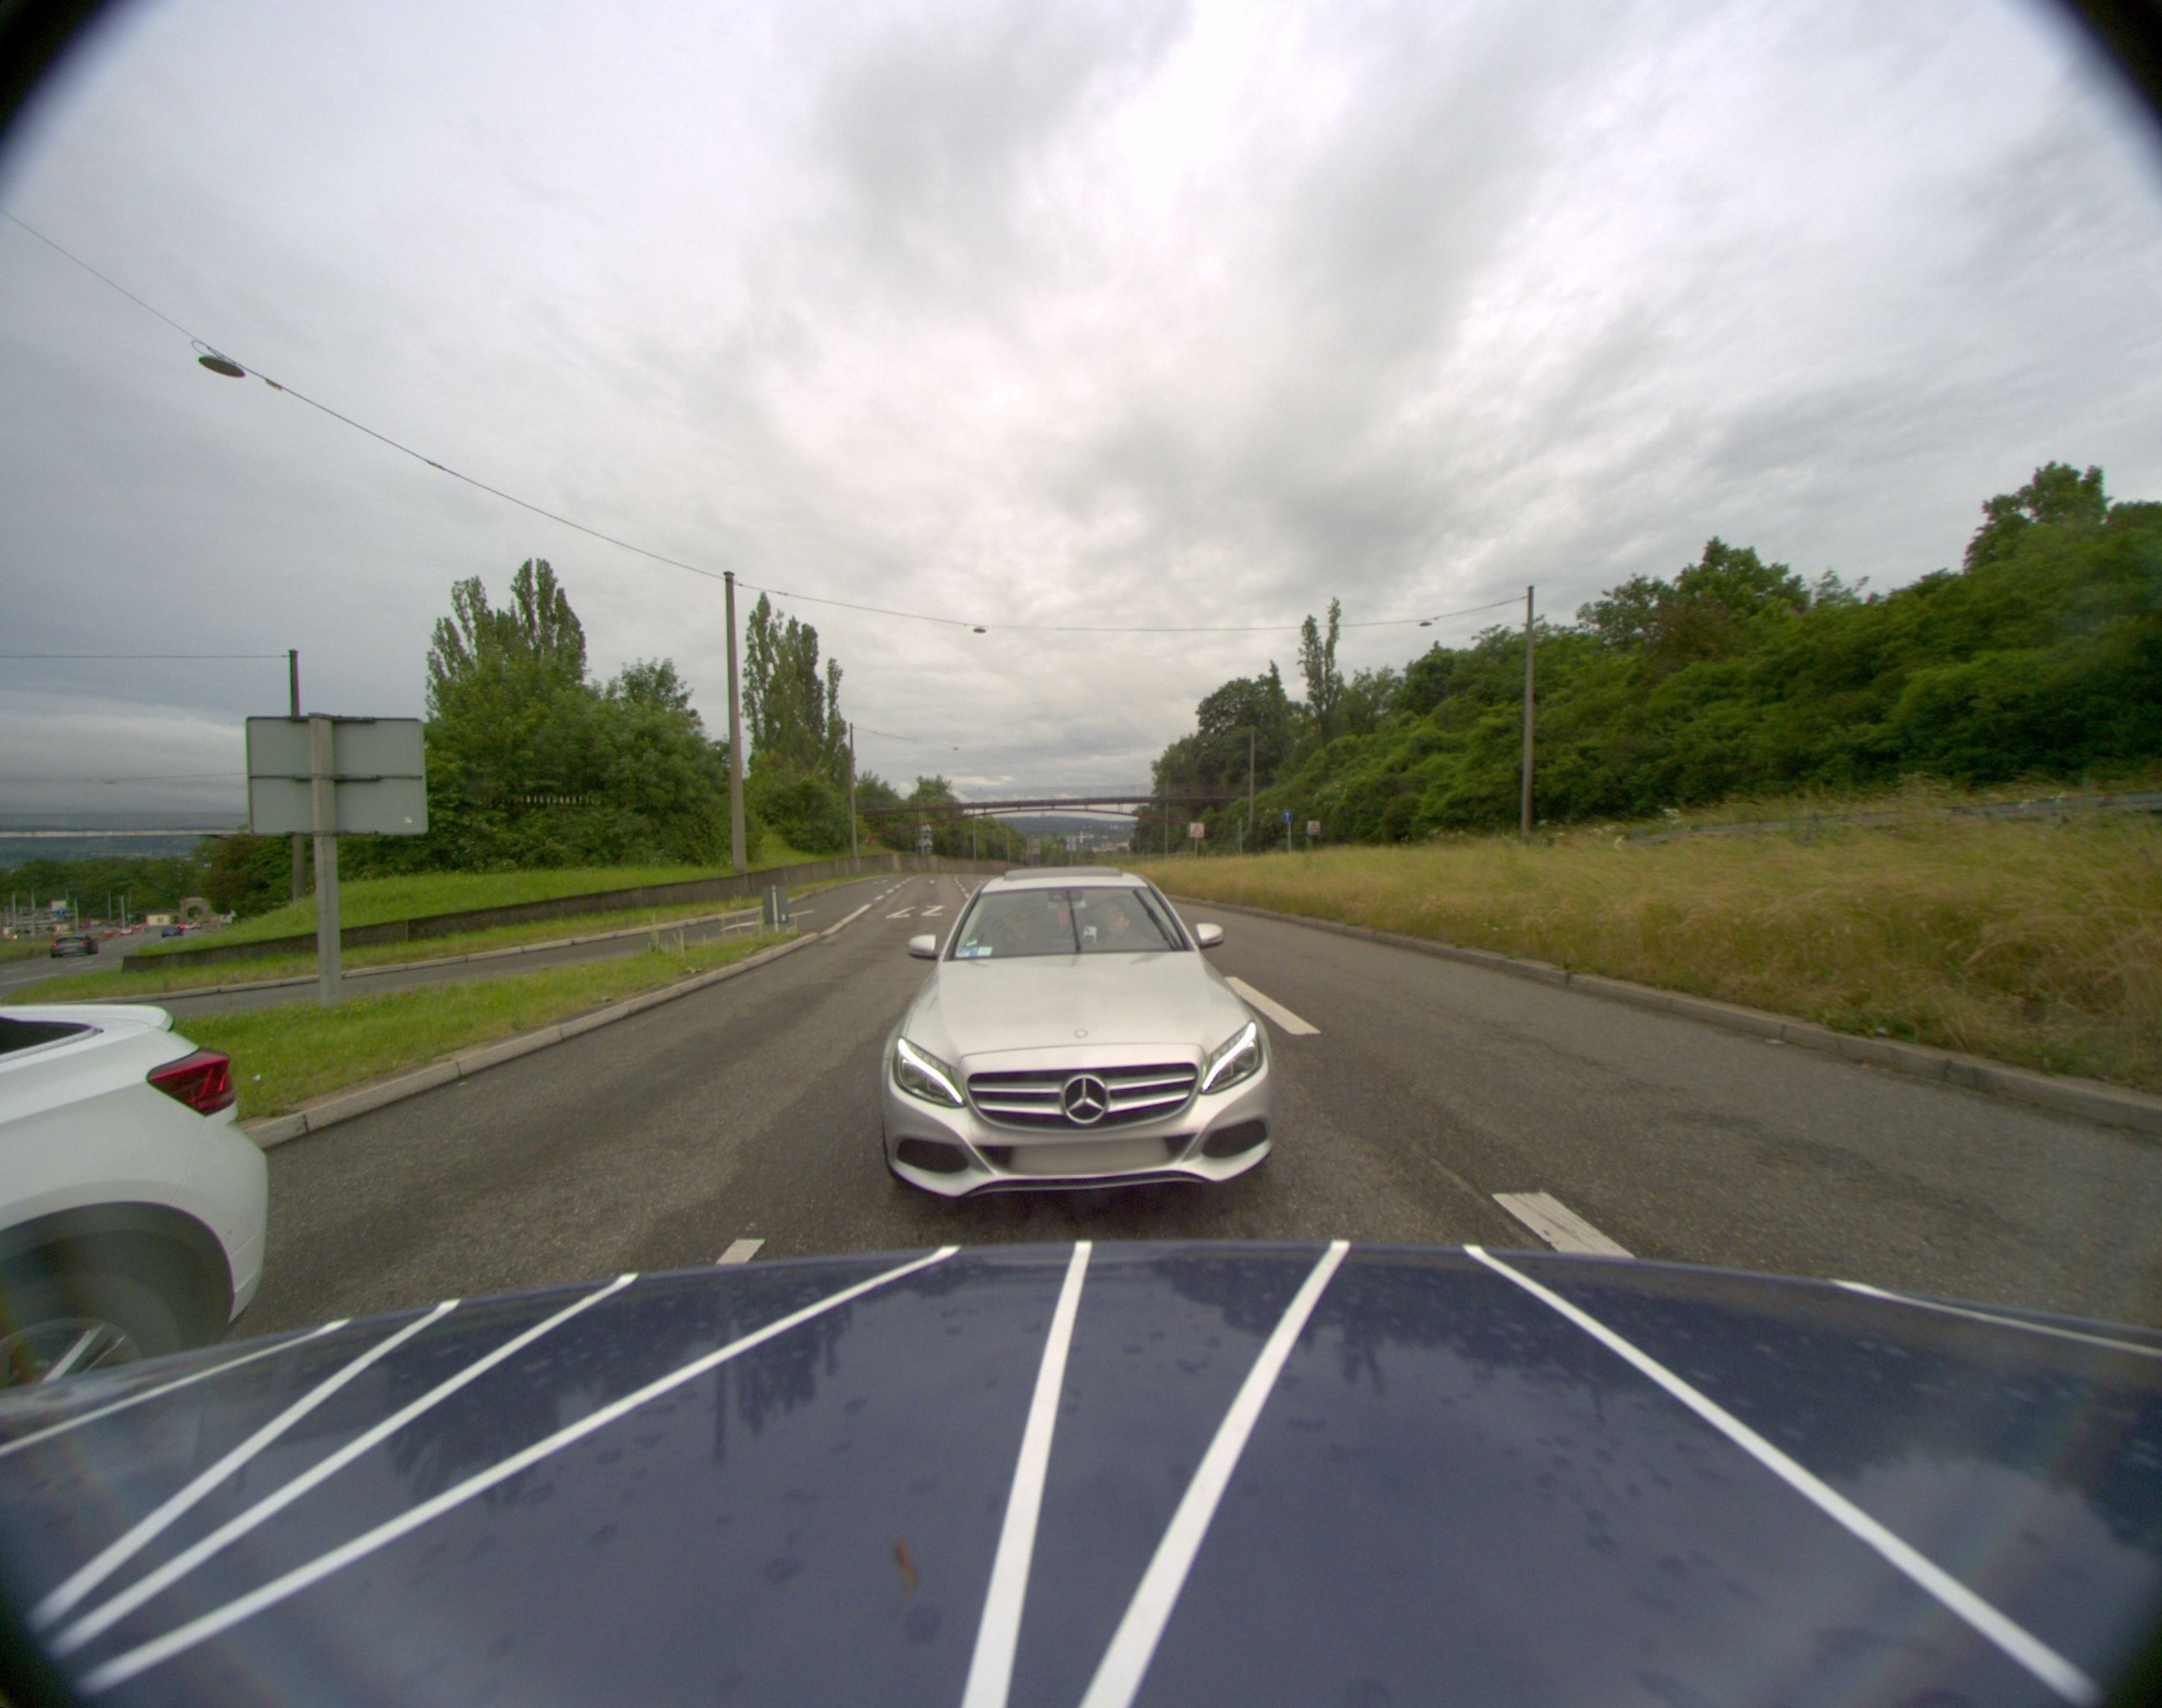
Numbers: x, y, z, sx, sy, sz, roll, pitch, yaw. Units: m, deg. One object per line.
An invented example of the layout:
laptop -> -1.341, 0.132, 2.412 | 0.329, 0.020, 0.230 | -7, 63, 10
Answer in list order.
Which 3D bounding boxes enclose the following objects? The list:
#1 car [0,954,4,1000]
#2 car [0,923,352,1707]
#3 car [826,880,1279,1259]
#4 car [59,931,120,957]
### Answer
car -> -28.252, 2.924, 18.207 | 4.811, 1.837, 2.003 | -4, 0, 44
car -> -3.103, 1.046, 0.184 | 1.717, 1.544, 4.228 | -2, 1, -1
car -> -0.129, 0.992, 5.310 | 1.895, 1.361, 4.134 | -2, 1, -1
car -> -67.785, 6.107, 52.006 | 1.688, 1.412, 4.072 | -5, 0, -42
